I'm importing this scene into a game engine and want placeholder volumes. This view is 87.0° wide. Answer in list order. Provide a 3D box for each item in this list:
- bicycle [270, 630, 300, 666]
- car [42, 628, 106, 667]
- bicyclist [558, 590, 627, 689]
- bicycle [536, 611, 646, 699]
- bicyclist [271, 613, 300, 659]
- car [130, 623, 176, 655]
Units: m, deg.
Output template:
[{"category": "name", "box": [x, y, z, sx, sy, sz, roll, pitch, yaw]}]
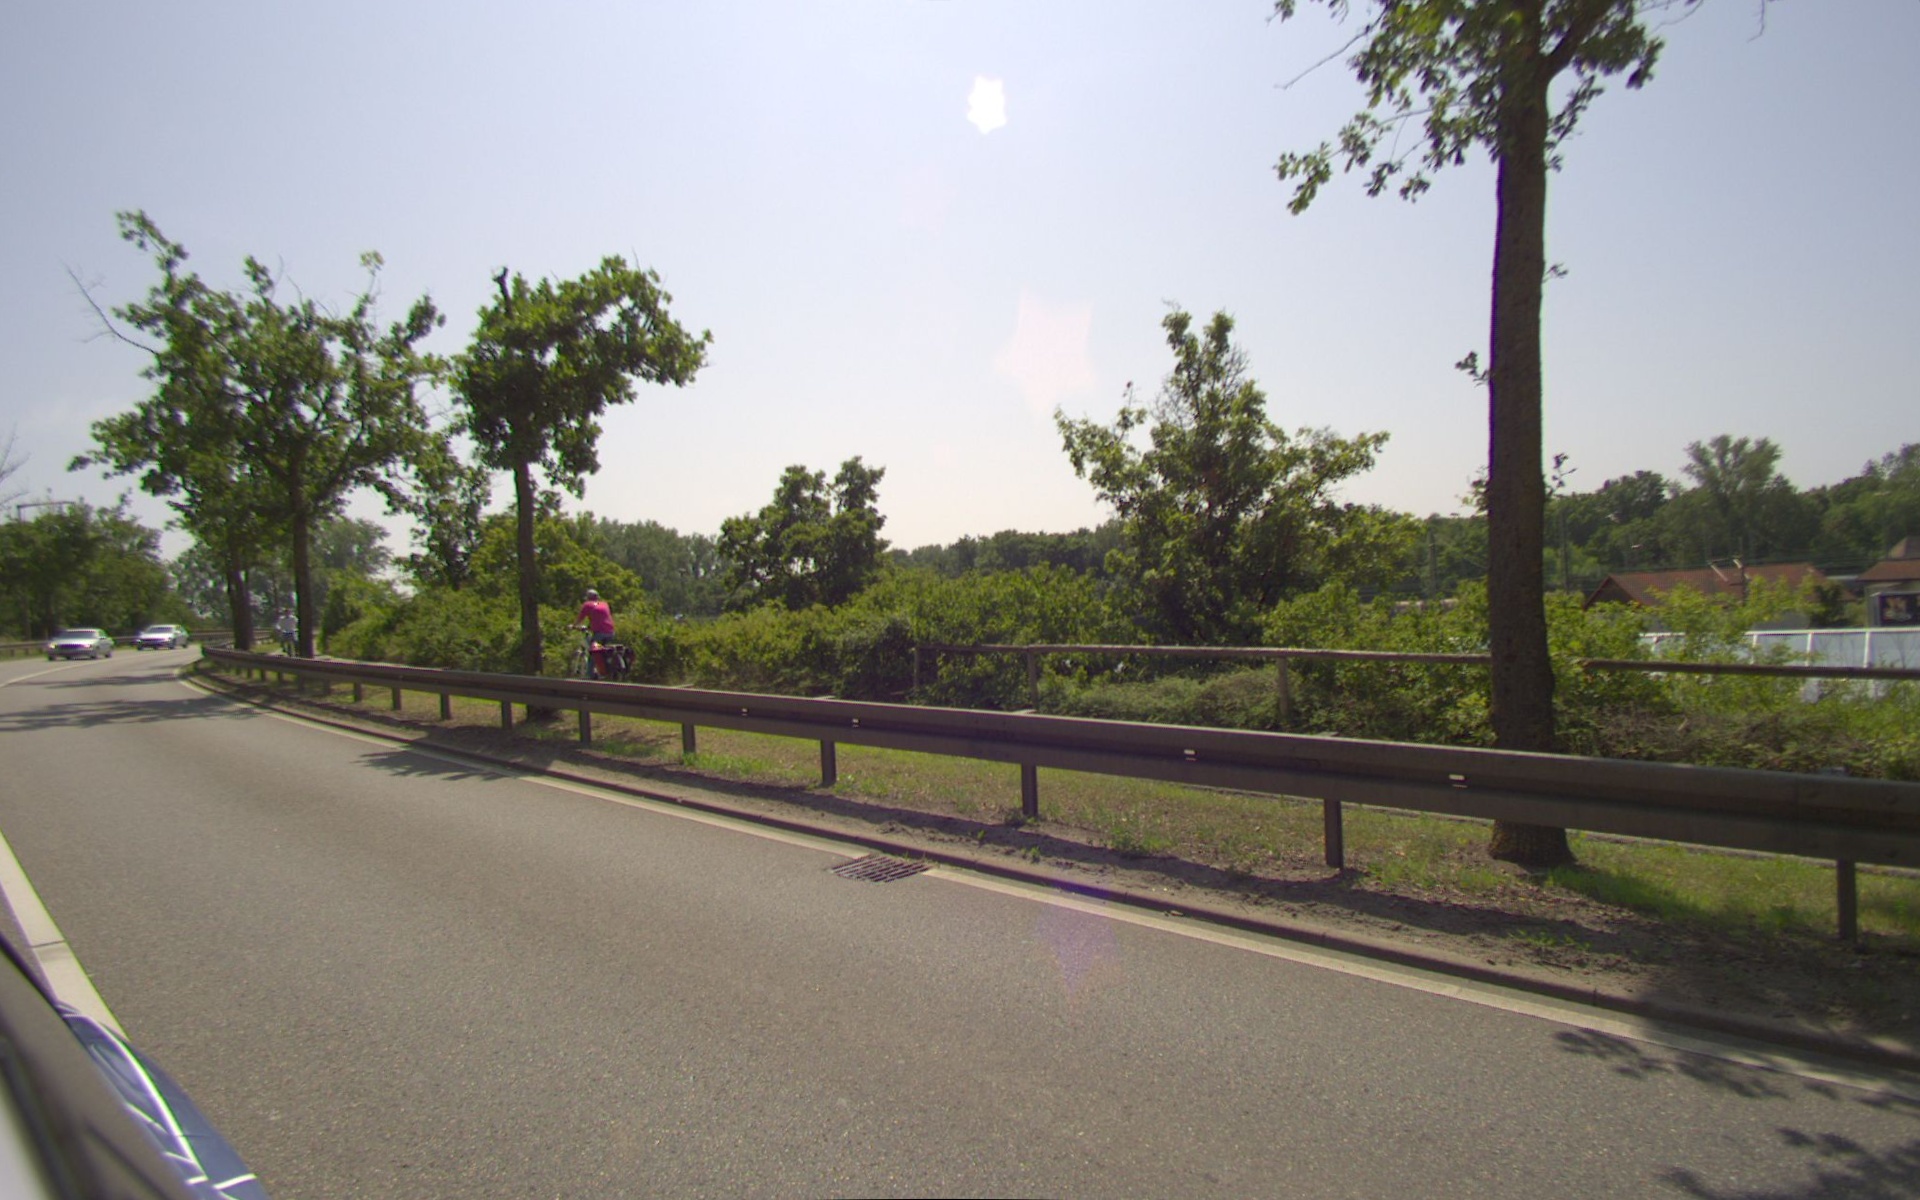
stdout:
[{"category": "bicycle", "box": [-22.022, 1.557, 33.036, 0.724, 1.125, 2.052, 1, -2, -32]}, {"category": "car", "box": [-40.469, 2.147, 46.320, 1.735, 1.510, 4.244, -2, 1, -35]}, {"category": "bicyclist", "box": [-5.790, 0.602, 15.940, 0.756, 1.500, 0.734, -2, 0, 41]}, {"category": "bicycle", "box": [-5.850, 0.839, 15.986, 2.045, 1.291, 0.726, -2, 0, 41]}, {"category": "bicyclist", "box": [-22.021, 1.187, 33.047, 0.719, 1.477, 0.826, 1, -2, -32]}, {"category": "car", "box": [-48.301, 2.300, 60.644, 1.770, 1.796, 4.305, -1, 0, -34]}]
